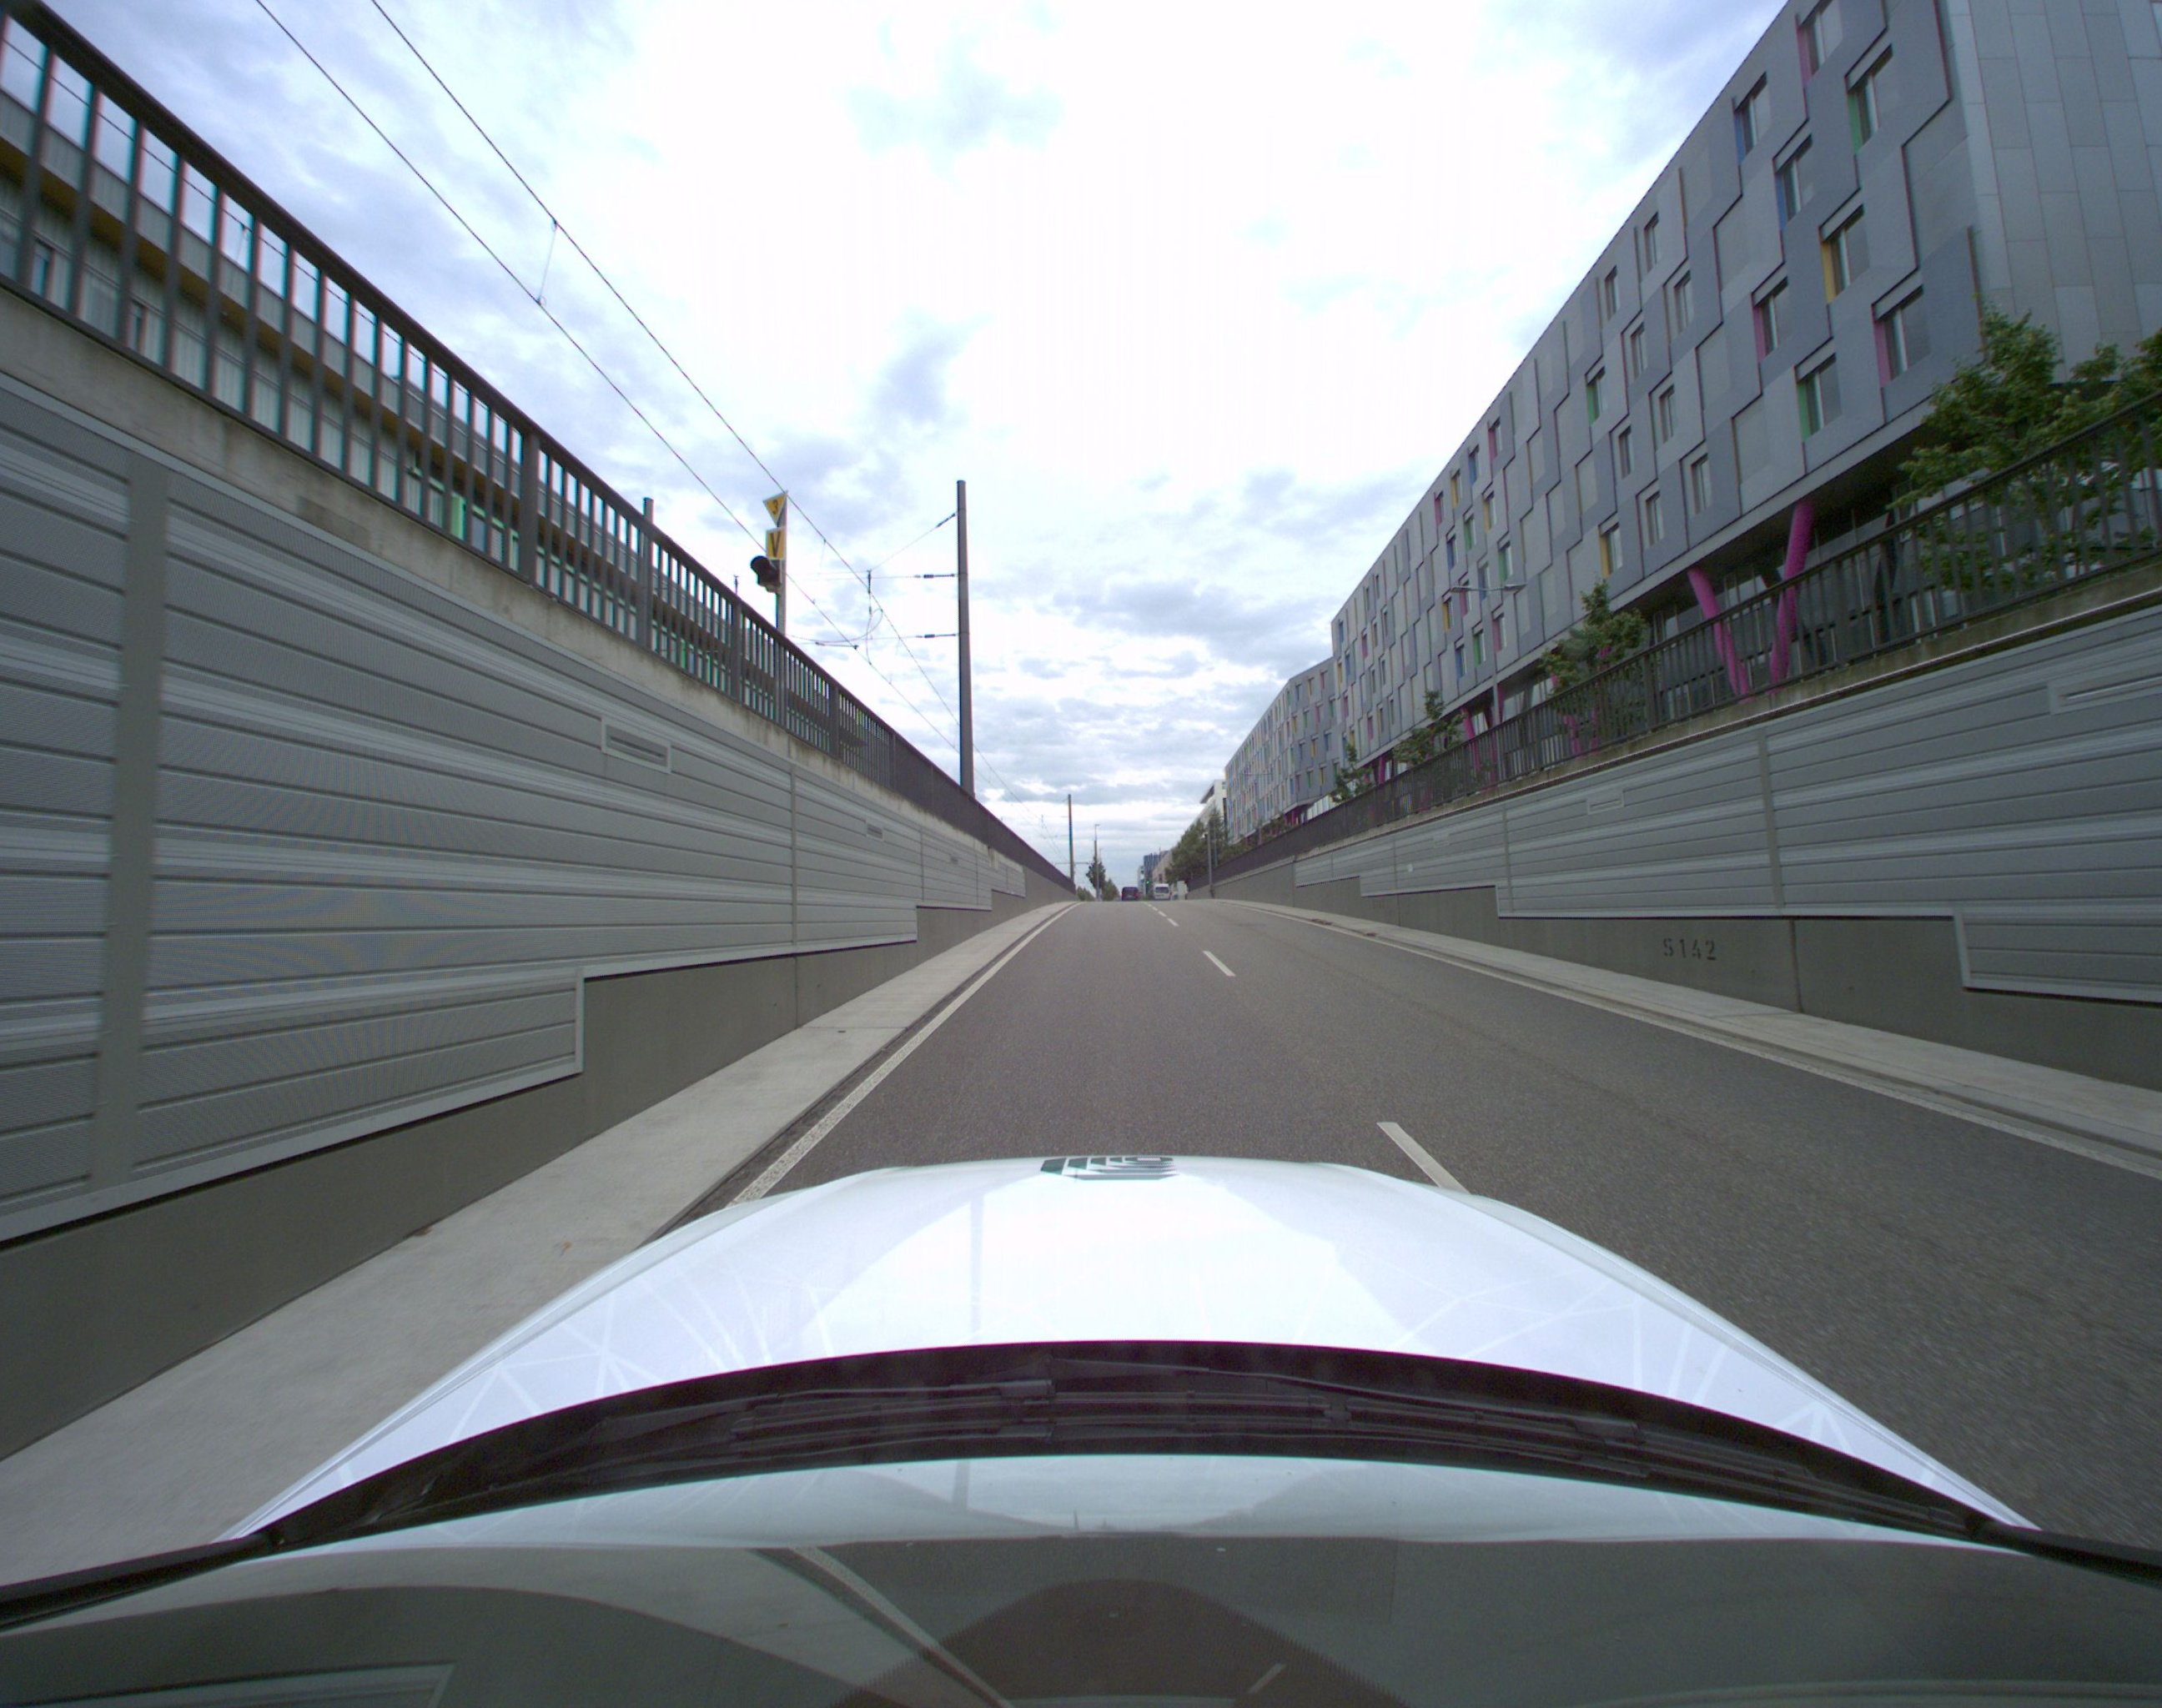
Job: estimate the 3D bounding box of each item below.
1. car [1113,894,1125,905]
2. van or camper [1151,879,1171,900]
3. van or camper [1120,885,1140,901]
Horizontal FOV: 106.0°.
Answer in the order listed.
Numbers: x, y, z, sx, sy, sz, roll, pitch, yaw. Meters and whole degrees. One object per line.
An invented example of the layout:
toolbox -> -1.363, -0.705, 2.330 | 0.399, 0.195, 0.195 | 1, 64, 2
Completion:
car -> 5.373, 6.418, 115.127 | 1.737, 1.418, 4.000 | 0, -5, 2
van or camper -> 9.374, 4.229, 95.872 | 2.100, 2.357, 4.925 | -1, -3, 3
van or camper -> 5.242, 4.220, 87.449 | 1.985, 1.616, 4.791 | -1, -4, 3
